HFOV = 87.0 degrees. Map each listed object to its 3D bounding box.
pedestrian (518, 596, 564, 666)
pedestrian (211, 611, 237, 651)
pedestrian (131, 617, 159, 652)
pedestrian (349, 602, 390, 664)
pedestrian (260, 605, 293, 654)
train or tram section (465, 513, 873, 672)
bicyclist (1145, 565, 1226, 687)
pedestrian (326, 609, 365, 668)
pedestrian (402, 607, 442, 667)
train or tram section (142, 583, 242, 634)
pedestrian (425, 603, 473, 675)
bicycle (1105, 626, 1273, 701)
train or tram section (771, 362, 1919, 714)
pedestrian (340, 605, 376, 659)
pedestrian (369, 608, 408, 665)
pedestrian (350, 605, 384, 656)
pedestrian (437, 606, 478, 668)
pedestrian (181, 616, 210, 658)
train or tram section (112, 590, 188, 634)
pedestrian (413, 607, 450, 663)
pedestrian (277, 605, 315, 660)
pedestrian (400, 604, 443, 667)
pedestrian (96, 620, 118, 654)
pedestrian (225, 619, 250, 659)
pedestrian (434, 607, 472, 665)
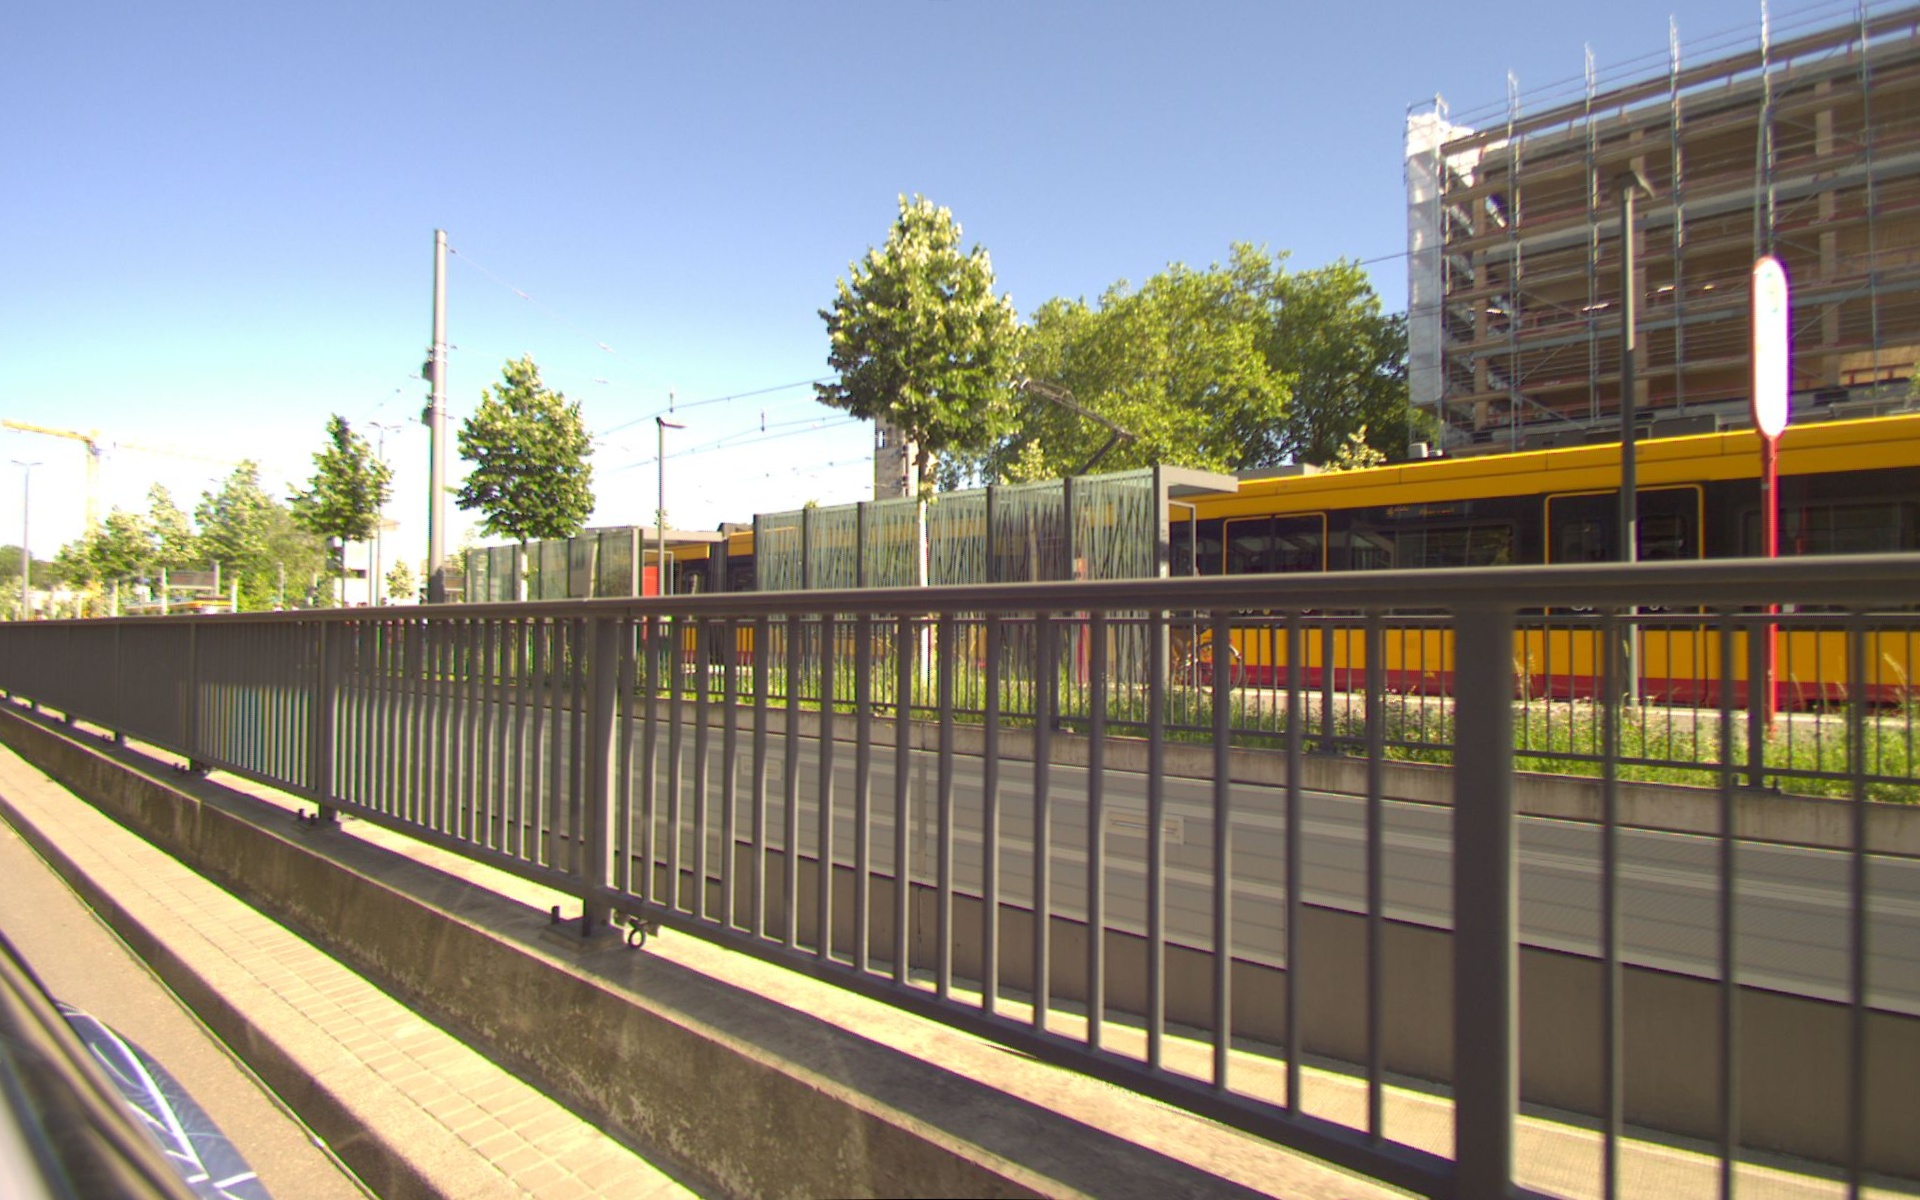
[{"bbox_3d":[-10.201,0.752,24.613,0.861,1.641,0.733,-2,-2,43],"label":"pedestrian"},{"bbox_3d":[-34.042,1.424,46.789,0.825,1.788,0.754,-3,-2,38],"label":"pedestrian"},{"bbox_3d":[-42.692,1.797,53.009,1.188,1.788,0.865,-3,-2,39],"label":"pedestrian"},{"bbox_3d":[-16.070,0.890,27.527,0.861,1.641,0.733,-2,-2,43],"label":"pedestrian"},{"bbox_3d":[-25.766,1.120,38.154,1.030,1.824,0.761,-2,-3,41],"label":"pedestrian"},{"bbox_3d":[-8.601,0.008,27.143,15.179,3.304,2.840,-2,-1,42],"label":"train or tram section"},{"bbox_3d":[2.875,0.330,12.915,0.853,1.502,0.532,-2,-2,42],"label":"bicyclist"},{"bbox_3d":[-17.369,1.087,28.609,0.861,1.641,0.733,-2,-2,43],"label":"pedestrian"},{"bbox_3d":[-15.158,1.032,28.513,0.861,1.641,0.733,-2,-2,43],"label":"pedestrian"},{"bbox_3d":[-56.910,0.714,74.711,15.960,3.346,2.818,-2,1,42],"label":"train or tram section"},{"bbox_3d":[-12.051,0.913,23.872,0.861,1.641,0.733,-2,-2,43],"label":"pedestrian"},{"bbox_3d":[2.878,0.779,12.904,2.087,0.892,0.531,-2,-2,42],"label":"bicycle"},{"bbox_3d":[5.268,-0.438,14.757,22.135,3.304,2.840,-2,-1,42],"label":"train or tram section"},{"bbox_3d":[-18.361,0.976,30.871,0.861,1.641,0.733,-2,-2,43],"label":"pedestrian"},{"bbox_3d":[-16.867,1.071,29.863,0.947,1.641,0.733,-2,-2,43],"label":"pedestrian"},{"bbox_3d":[-19.915,1.019,33.981,0.861,1.707,0.733,-2,-2,43],"label":"pedestrian"},{"bbox_3d":[-13.562,1.004,27.322,0.861,1.641,0.733,-2,-2,43],"label":"pedestrian"},{"bbox_3d":[-33.581,1.629,44.445,0.978,1.788,0.783,-3,-2,39],"label":"pedestrian"},{"bbox_3d":[-67.697,1.071,84.403,13.068,3.335,2.840,-2,-1,42],"label":"train or tram section"},{"bbox_3d":[-16.003,1.057,30.650,0.861,1.641,0.733,-2,-2,43],"label":"pedestrian"},{"bbox_3d":[-23.057,1.116,35.149,1.007,1.865,0.877,-2,-2,42],"label":"pedestrian"},{"bbox_3d":[-14.193,0.929,26.668,0.861,1.641,0.733,-2,-2,43],"label":"pedestrian"},{"bbox_3d":[-45.516,1.976,54.013,0.958,1.788,0.696,-3,-2,39],"label":"pedestrian"},{"bbox_3d":[-28.580,1.540,40.037,0.588,1.524,0.641,-3,-2,39],"label":"pedestrian"},{"bbox_3d":[-14.593,1.024,29.135,0.861,1.641,0.733,-2,-2,43],"label":"pedestrian"}]
